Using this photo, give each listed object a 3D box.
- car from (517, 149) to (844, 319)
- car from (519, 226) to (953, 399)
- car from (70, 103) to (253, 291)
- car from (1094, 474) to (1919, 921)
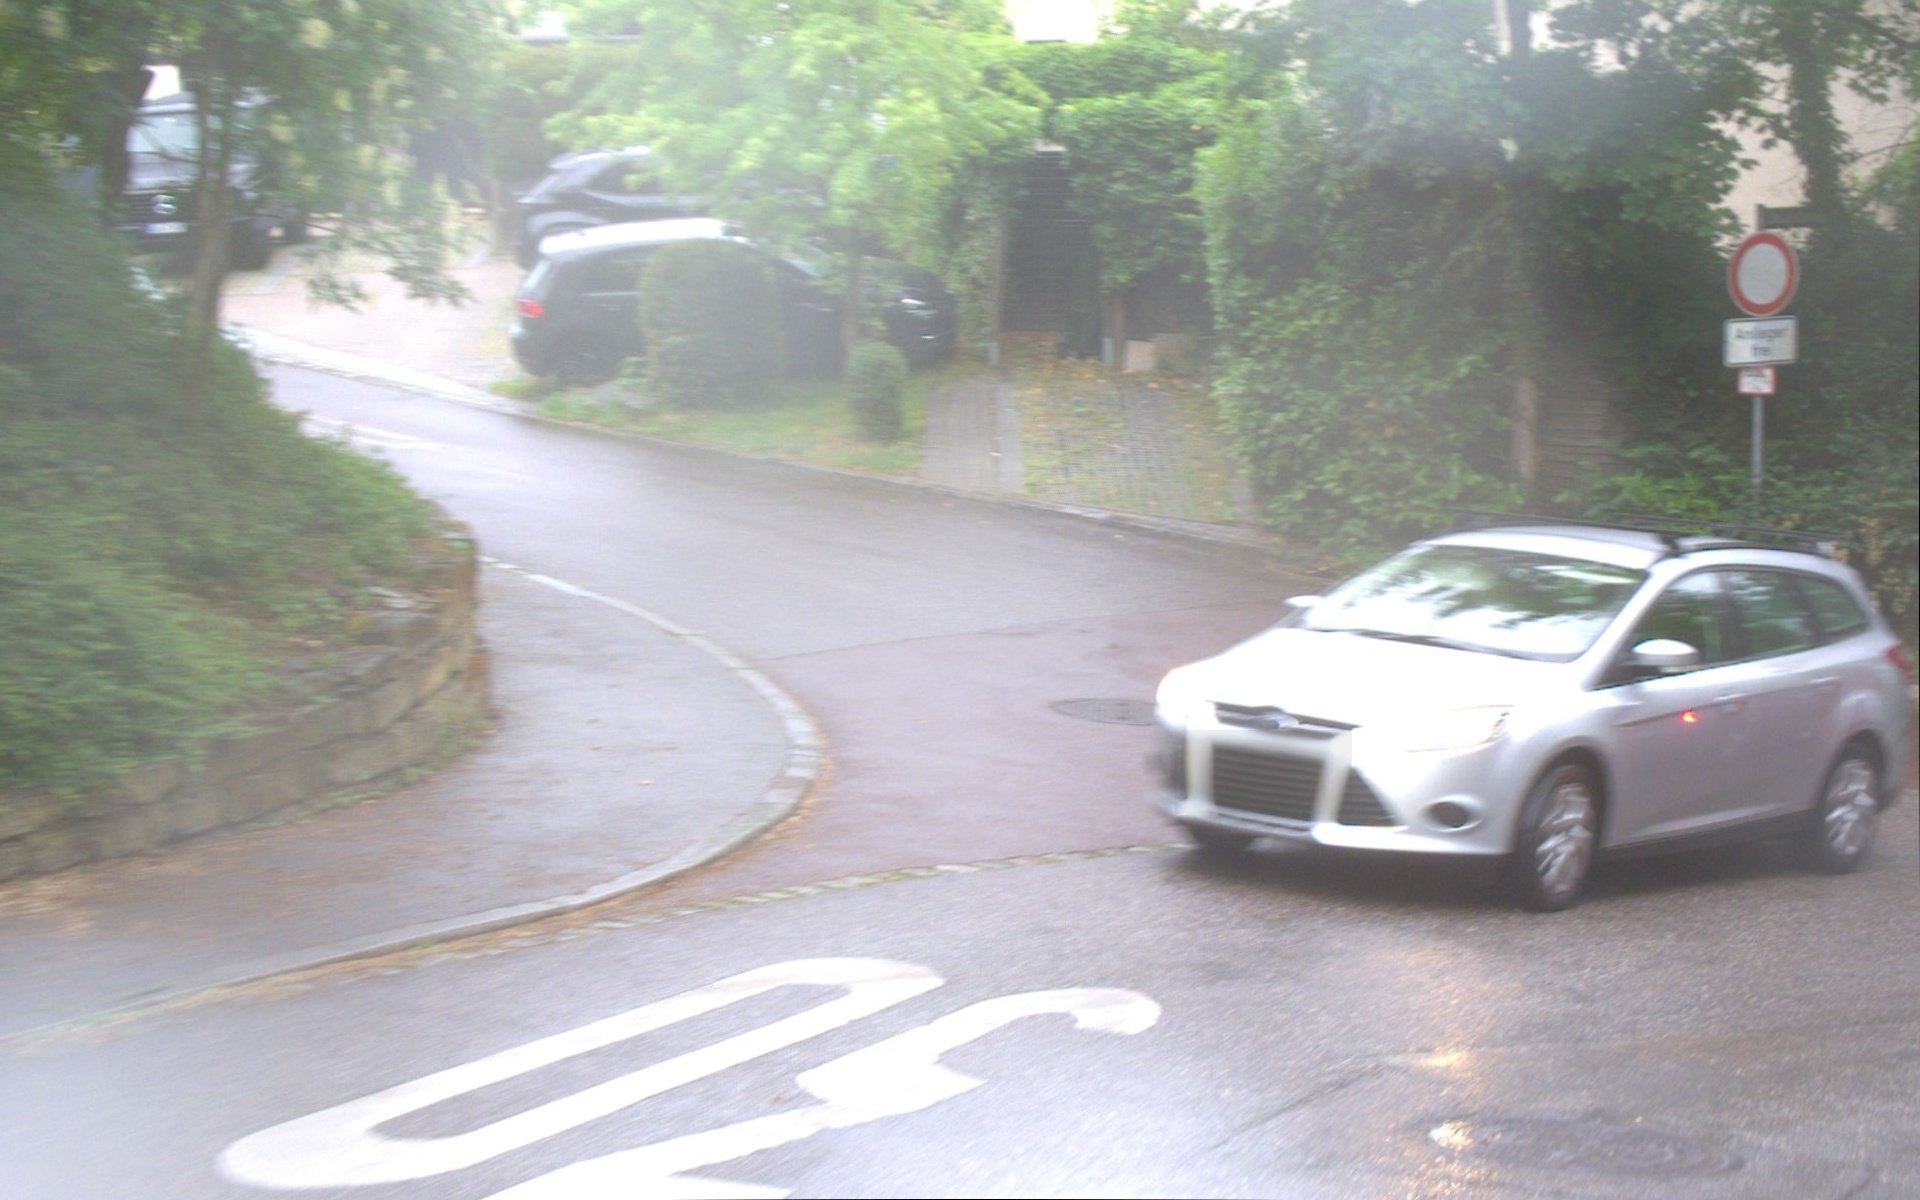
[{"bbox_3d":[-2.997,-3.997,37.457,3.397,1.568,1.595,0,16,0],"label":"car"},{"bbox_3d":[-2.095,-2.751,32.657,3.986,1.411,1.700,-1,12,-2],"label":"car"},{"bbox_3d":[-9.534,-4.893,41.307,1.887,1.609,4.005,-6,15,-10],"label":"car"},{"bbox_3d":[2.573,0.394,14.908,1.676,1.532,4.111,8,4,40],"label":"car"}]
